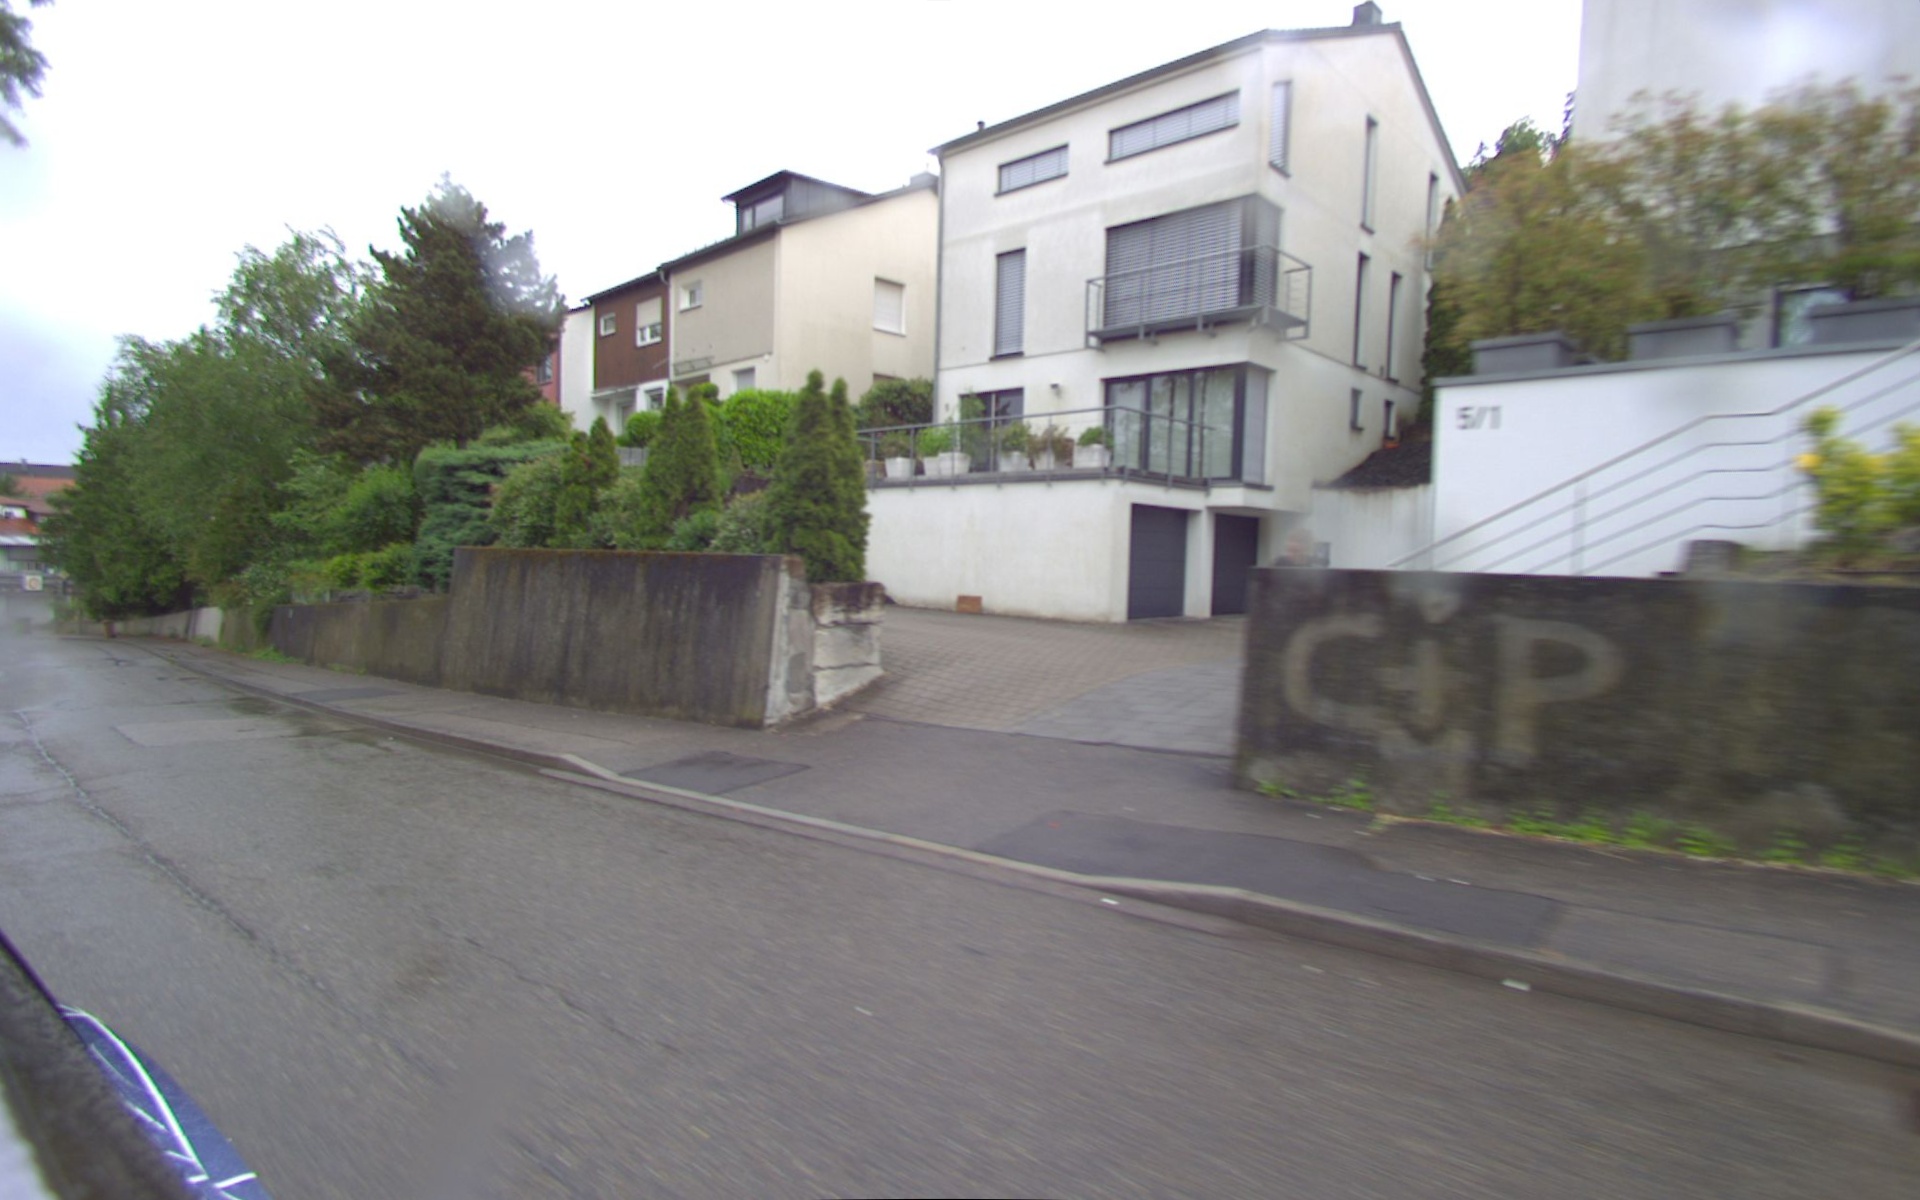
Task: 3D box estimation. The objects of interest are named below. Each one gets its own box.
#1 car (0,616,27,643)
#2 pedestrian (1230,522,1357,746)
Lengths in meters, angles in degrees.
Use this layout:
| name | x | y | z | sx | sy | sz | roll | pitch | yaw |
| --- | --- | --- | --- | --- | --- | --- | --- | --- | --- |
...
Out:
| name | x | y | z | sx | sy | sz | roll | pitch | yaw |
| --- | --- | --- | --- | --- | --- | --- | --- | --- | --- |
| car | -58.325 | 1.804 | 61.557 | 3.988 | 1.511 | 1.739 | -1 | 1 | 39 |
| pedestrian | 2.641 | 0.260 | 7.998 | 0.731 | 1.661 | 0.650 | -3 | -1 | 36 |
